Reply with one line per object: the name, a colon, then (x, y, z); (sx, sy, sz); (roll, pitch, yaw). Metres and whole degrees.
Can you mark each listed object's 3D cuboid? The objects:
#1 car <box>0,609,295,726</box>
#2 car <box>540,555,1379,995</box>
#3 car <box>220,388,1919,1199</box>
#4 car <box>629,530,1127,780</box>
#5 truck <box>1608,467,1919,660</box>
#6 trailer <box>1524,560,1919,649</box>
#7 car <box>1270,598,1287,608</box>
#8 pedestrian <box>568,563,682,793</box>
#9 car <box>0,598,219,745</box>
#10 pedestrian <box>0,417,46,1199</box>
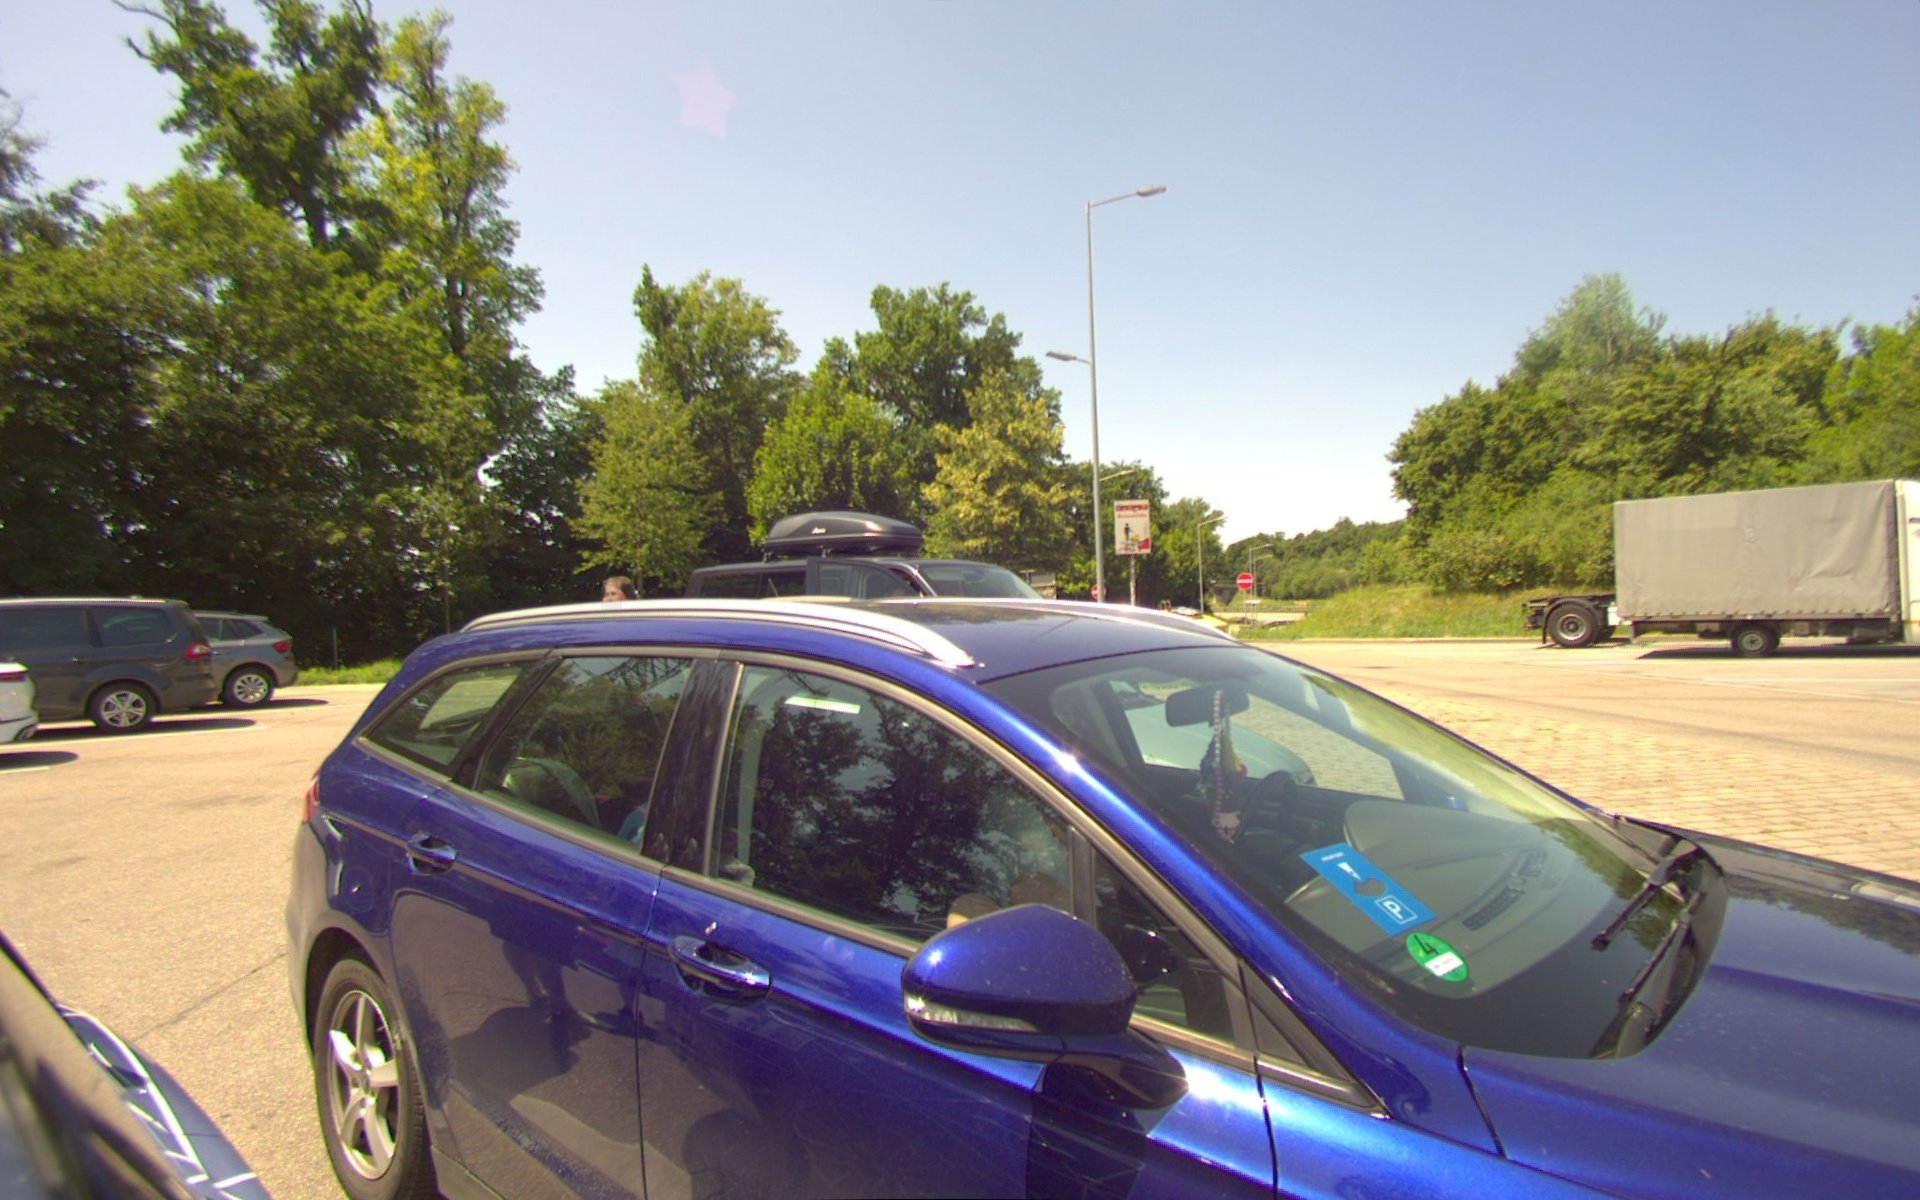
car: (-12.631, 0.964, 15.679); (3.767, 1.572, 1.654); (-1, 0, -38)
car: (-0.330, 0.666, 5.625); (4.569, 1.517, 1.735); (-3, 0, 40)
car: (0.225, 0.631, 2.088); (4.569, 1.482, 1.735); (-3, 0, 40)
car: (-0.901, 0.494, 9.674); (4.558, 1.912, 1.740); (-3, 0, 32)
truck: (16.773, -0.648, 19.026); (7.274, 3.269, 2.678); (-4, -1, 42)
trailer: (17.698, 0.156, 23.124); (8.098, 1.638, 2.187); (-4, -1, 41)
car: (65.196, 0.536, 207.067); (1.971, 2.029, 4.002); (-1, 0, -2)
pedestrian: (-2.702, 0.600, 8.233); (0.772, 1.767, 0.757); (-1, 0, -11)
car: (-11.639, 0.860, 12.672); (3.767, 1.708, 1.654); (-1, 0, -38)
pedestrian: (-2.736, 0.517, 2.258); (0.905, 1.919, 0.816); (-1, 0, -33)
